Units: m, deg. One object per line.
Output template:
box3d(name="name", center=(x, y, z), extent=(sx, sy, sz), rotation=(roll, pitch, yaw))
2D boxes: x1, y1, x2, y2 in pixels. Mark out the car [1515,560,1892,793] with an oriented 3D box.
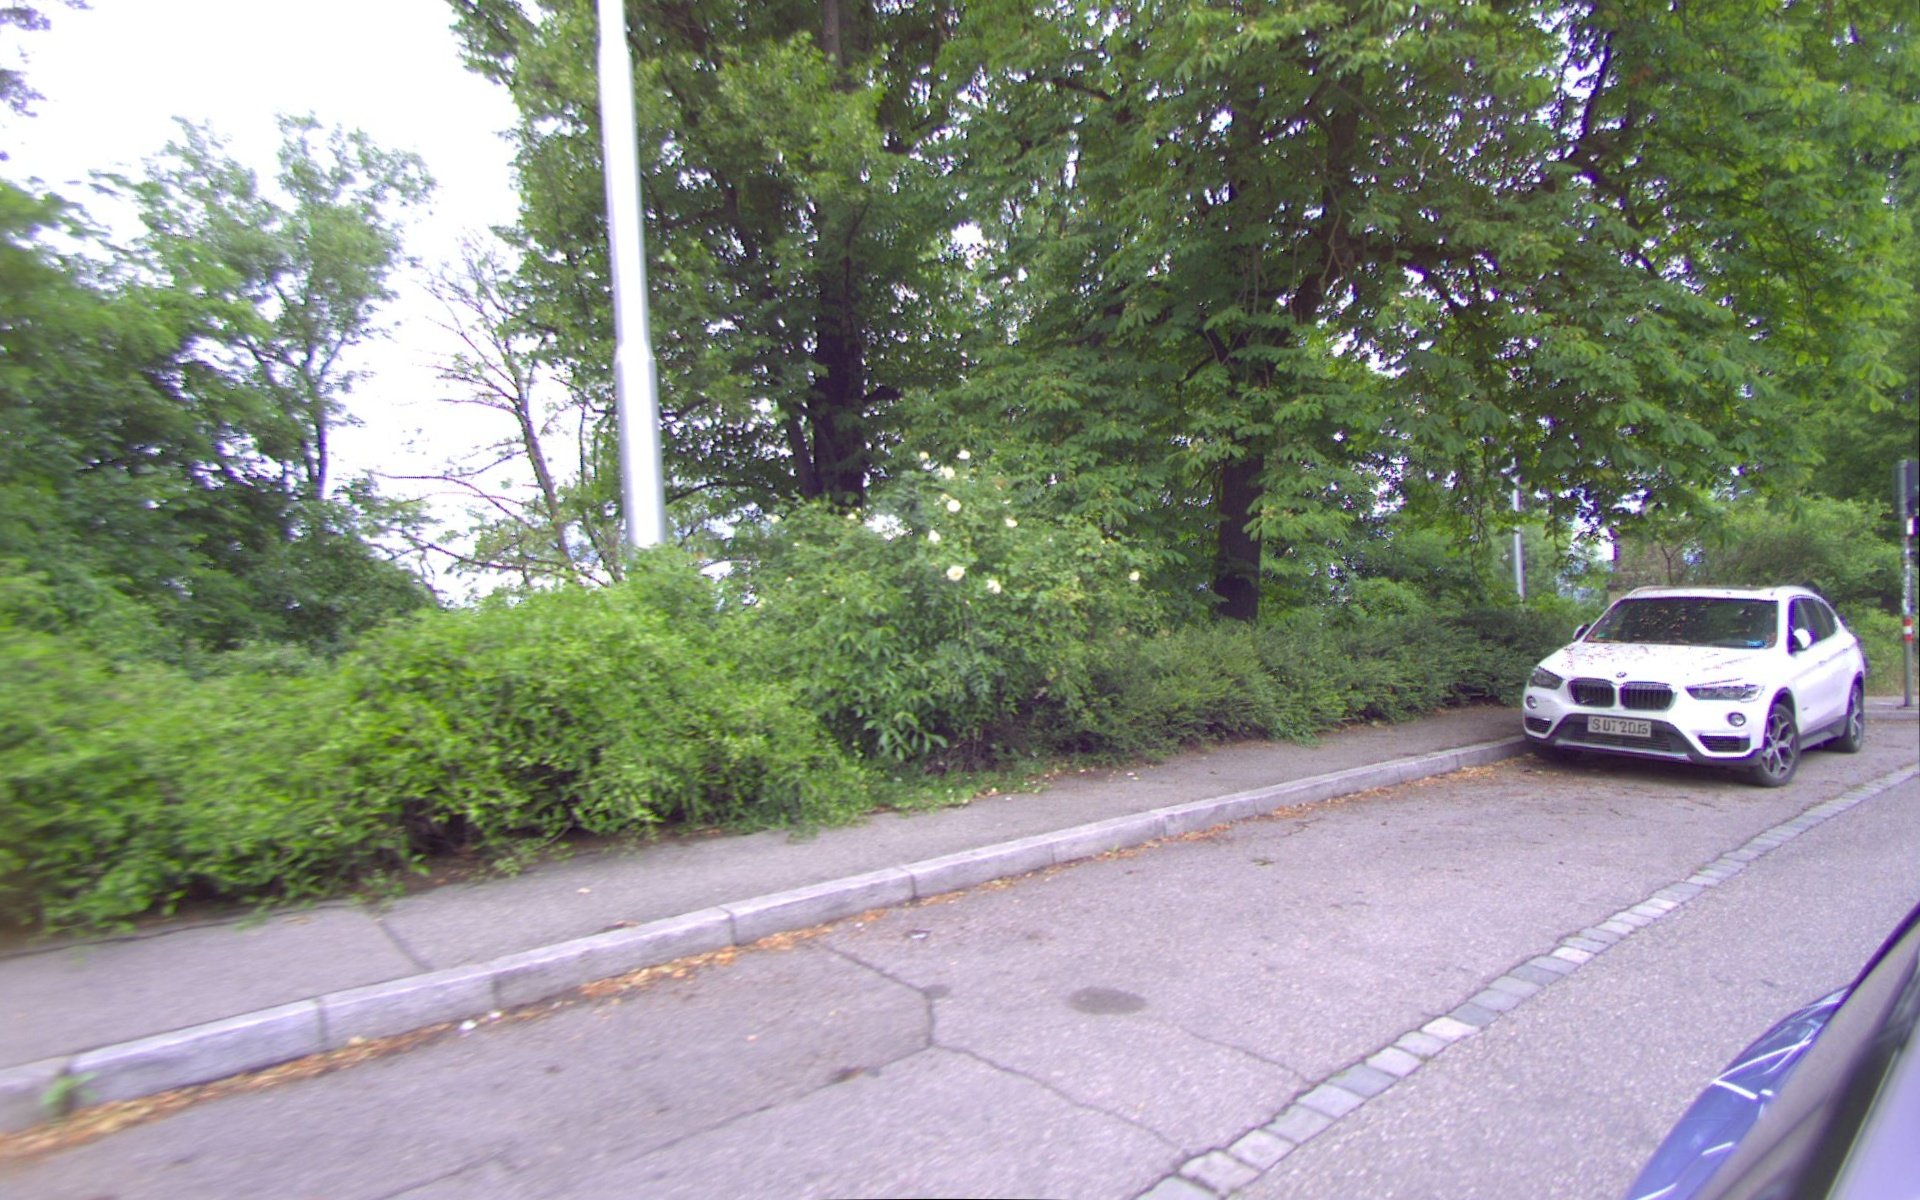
box3d(name="car", center=(6.961, 0.504, 9.310), extent=(4.302, 1.673, 1.762), rotation=(-1, 2, -39))
